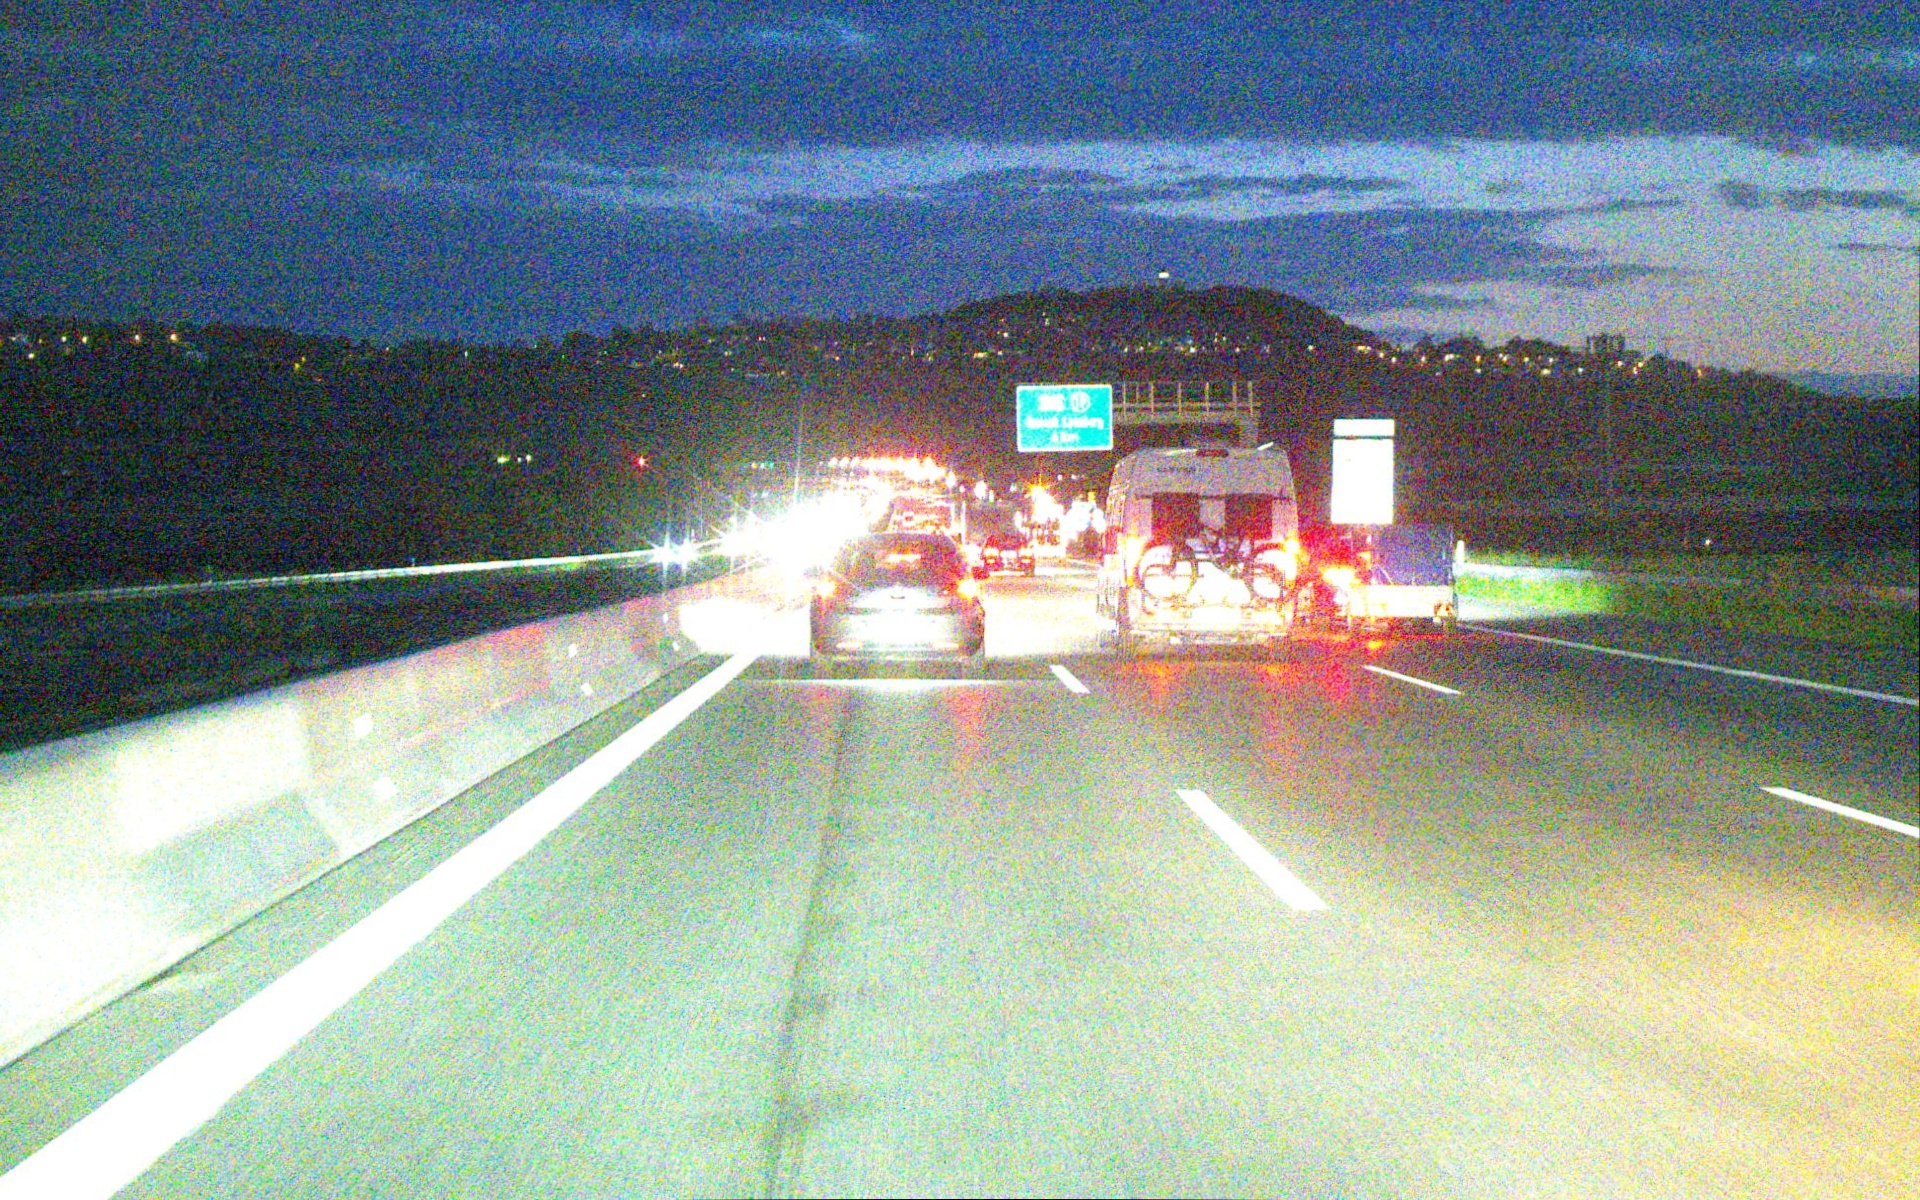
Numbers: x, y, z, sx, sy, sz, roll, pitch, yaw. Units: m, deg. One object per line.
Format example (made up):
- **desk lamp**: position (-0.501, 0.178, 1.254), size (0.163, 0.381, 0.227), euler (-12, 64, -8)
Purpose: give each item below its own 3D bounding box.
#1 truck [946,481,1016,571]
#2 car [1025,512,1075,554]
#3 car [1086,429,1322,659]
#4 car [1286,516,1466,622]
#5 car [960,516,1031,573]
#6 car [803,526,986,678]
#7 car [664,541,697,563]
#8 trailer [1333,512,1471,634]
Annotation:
- **truck**: position (0.916, -3.371, 156.795), size (2.781, 3.942, 7.994), euler (-1, 1, -2)
- **car**: position (4.631, -3.471, 177.645), size (2.351, 2.068, 4.723), euler (-1, 2, 0)
- **car**: position (2.827, -0.711, 41.169), size (2.351, 2.526, 5.701), euler (-1, 2, 0)
- **car**: position (6.338, -0.514, 52.852), size (2.163, 1.558, 4.723), euler (0, 1, 0)
- **car**: position (1.190, -1.922, 118.088), size (2.351, 1.907, 4.723), euler (-1, 1, 0)
- **car**: position (-0.660, -0.021, 35.792), size (1.793, 1.464, 3.773), euler (0, 2, 0)
- **car**: position (-19.891, -3.410, 244.733), size (1.993, 1.473, 5.045), euler (-3, 1, -2)
- **trailer**: position (6.296, -0.404, 49.225), size (1.566, 1.687, 2.821), euler (-1, 1, -1)
